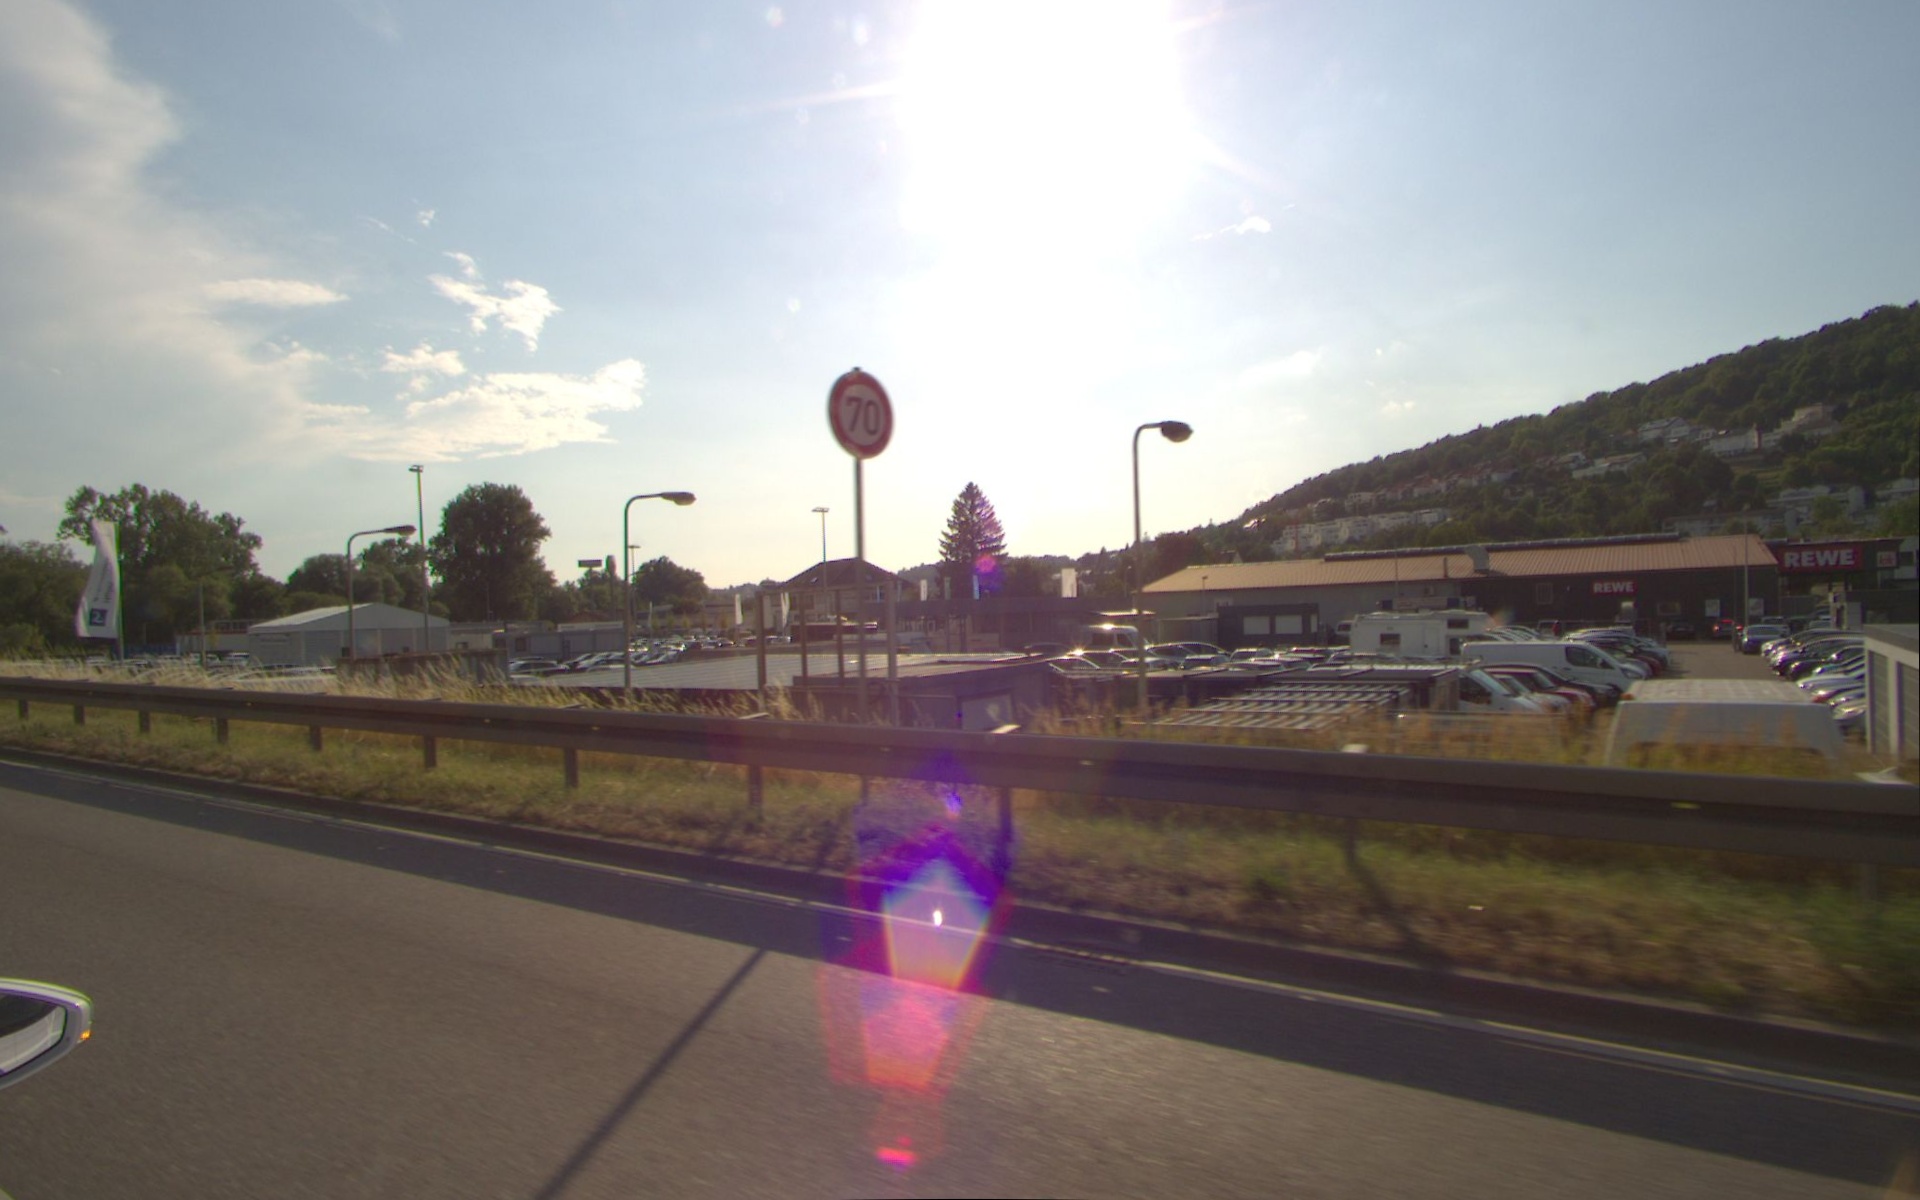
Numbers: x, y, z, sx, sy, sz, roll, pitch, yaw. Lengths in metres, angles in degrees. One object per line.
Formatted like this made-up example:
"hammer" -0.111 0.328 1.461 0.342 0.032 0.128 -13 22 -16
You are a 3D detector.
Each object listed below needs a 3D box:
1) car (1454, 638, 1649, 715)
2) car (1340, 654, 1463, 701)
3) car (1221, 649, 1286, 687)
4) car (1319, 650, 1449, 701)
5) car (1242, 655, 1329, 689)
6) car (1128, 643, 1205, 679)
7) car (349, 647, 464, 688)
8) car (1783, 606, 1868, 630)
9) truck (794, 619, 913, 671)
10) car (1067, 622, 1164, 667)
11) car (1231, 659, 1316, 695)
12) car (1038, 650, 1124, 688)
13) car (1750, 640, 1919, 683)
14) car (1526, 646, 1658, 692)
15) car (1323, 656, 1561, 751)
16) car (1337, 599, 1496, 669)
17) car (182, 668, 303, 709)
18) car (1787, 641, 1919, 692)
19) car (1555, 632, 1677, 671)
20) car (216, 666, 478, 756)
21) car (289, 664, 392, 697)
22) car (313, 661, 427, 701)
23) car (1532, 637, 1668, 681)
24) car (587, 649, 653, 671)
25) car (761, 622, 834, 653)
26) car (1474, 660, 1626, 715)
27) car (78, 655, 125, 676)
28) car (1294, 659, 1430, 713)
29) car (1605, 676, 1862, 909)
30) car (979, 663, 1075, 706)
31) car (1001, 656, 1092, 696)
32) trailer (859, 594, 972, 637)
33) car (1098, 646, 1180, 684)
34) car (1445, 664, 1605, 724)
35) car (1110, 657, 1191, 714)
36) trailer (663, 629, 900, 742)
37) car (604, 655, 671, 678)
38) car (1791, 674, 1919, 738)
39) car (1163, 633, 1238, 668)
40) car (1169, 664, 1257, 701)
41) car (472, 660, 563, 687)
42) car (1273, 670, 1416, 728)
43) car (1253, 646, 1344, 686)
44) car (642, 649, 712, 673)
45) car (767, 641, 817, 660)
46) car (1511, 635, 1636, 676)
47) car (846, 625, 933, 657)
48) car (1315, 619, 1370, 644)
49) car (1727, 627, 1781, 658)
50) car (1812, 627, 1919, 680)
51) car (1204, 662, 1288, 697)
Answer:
"car" 18.875 2.398 32.098 5.229 2.274 1.750 -2 -2 36
"car" 16.542 2.876 37.598 3.948 1.660 1.750 -2 -3 36
"car" 13.970 3.223 47.622 1.627 1.689 3.621 -2 -3 40
"car" 15.038 2.647 35.583 3.948 1.660 1.750 -2 -3 36
"car" 13.266 2.904 40.889 3.085 1.315 1.368 -3 -3 37
"car" 10.130 2.985 49.264 3.603 1.705 1.769 -1 -2 9
"car" -25.969 3.132 47.084 1.780 1.736 4.399 -2 -2 40
"car" 64.875 1.342 75.163 4.519 1.609 1.828 -2 0 31
"truck" -5.186 2.200 48.335 5.893 2.400 1.988 -2 -2 36
"car" 8.942 2.584 57.853 5.262 2.468 1.986 -3 -3 38
"car" 11.844 2.897 37.908 1.343 1.243 2.852 1 -3 -35
"car" 5.366 3.046 44.424 3.703 1.590 1.682 -1 -2 7
"car" 32.166 2.237 36.923 1.735 1.478 4.461 0 -3 -29
"car" 22.276 2.433 35.454 3.609 1.522 1.766 -2 -2 20
"car" 11.173 2.330 23.401 4.765 1.976 1.750 -2 -3 36
"car" 17.818 1.369 39.244 5.399 2.581 1.750 -2 -2 36
"car" -31.286 3.821 43.758 1.764 1.563 3.962 -2 -3 36
"car" 30.075 2.156 32.678 1.739 1.585 4.450 1 -3 -36
"car" 28.950 2.259 44.303 4.113 1.649 1.728 -1 -2 9
"car" -16.578 2.920 27.467 1.974 2.039 5.867 -2 -3 35
"car" -33.145 4.289 53.642 1.780 1.563 4.400 -2 -3 40
"car" -28.233 3.837 48.002 1.780 1.735 4.400 -2 -3 40
"car" 25.215 2.327 39.570 4.113 1.649 1.728 -1 -2 9
"car" -25.245 4.451 74.482 1.782 1.563 4.307 -3 -3 44
"car" -8.488 1.968 52.311 3.843 1.563 1.591 -3 -3 38
"car" 17.686 2.581 30.097 3.635 1.522 1.754 -3 -3 43
"car" -67.888 5.163 79.170 4.669 1.656 1.874 -2 -3 37
"car" 13.552 2.857 33.841 3.948 1.660 1.750 -2 -3 36
"car" 8.070 1.818 10.773 1.810 1.838 3.978 -2 -3 34
"car" 2.686 3.332 39.562 3.703 1.590 1.682 -1 -2 7
"car" 3.669 3.188 42.251 3.703 1.590 1.682 -1 -2 7
"trailer" -2.408 0.888 52.951 6.206 2.048 1.987 -3 -3 38
"car" 8.383 3.027 46.794 3.606 1.705 1.767 -1 -1 16
"car" 15.945 2.608 28.334 3.635 1.522 1.754 -3 -3 43
"car" 7.557 3.317 39.536 1.807 2.039 3.627 -2 -3 35
"trailer" -5.816 2.717 34.108 3.316 3.364 7.855 -2 -3 36
"car" -23.272 4.771 72.436 1.782 1.563 4.307 -3 -3 44
"car" 25.450 2.831 26.804 4.765 1.585 1.750 -2 -3 36
"car" 12.356 2.605 51.574 3.603 1.705 1.769 -1 -2 9
"car" 8.556 2.763 33.942 1.260 1.138 2.748 1 -3 -35
"car" -24.919 4.100 56.474 1.780 1.386 4.400 -2 -3 40
"car" 12.257 3.104 32.033 3.948 1.660 1.750 -2 -3 36
"car" 14.815 2.865 43.990 1.783 1.636 3.419 1 -3 -34
"car" -19.474 4.182 69.035 1.782 1.563 4.307 -3 -3 44
"car" -15.178 4.553 90.541 4.354 1.657 1.886 0 -2 -7
"car" 25.824 2.355 42.247 4.113 1.649 1.728 -1 -2 9
"car" -3.612 2.078 50.668 4.292 1.563 1.789 -3 -3 37
"car" 31.477 2.608 82.452 3.944 2.039 1.990 -2 -2 32
"car" 41.668 2.211 52.601 1.706 1.527 3.981 -1 -2 31
"car" 28.910 1.604 30.390 1.742 1.585 4.442 1 -3 -41
"car" 10.245 2.829 35.971 1.260 1.138 2.748 1 -3 -35
